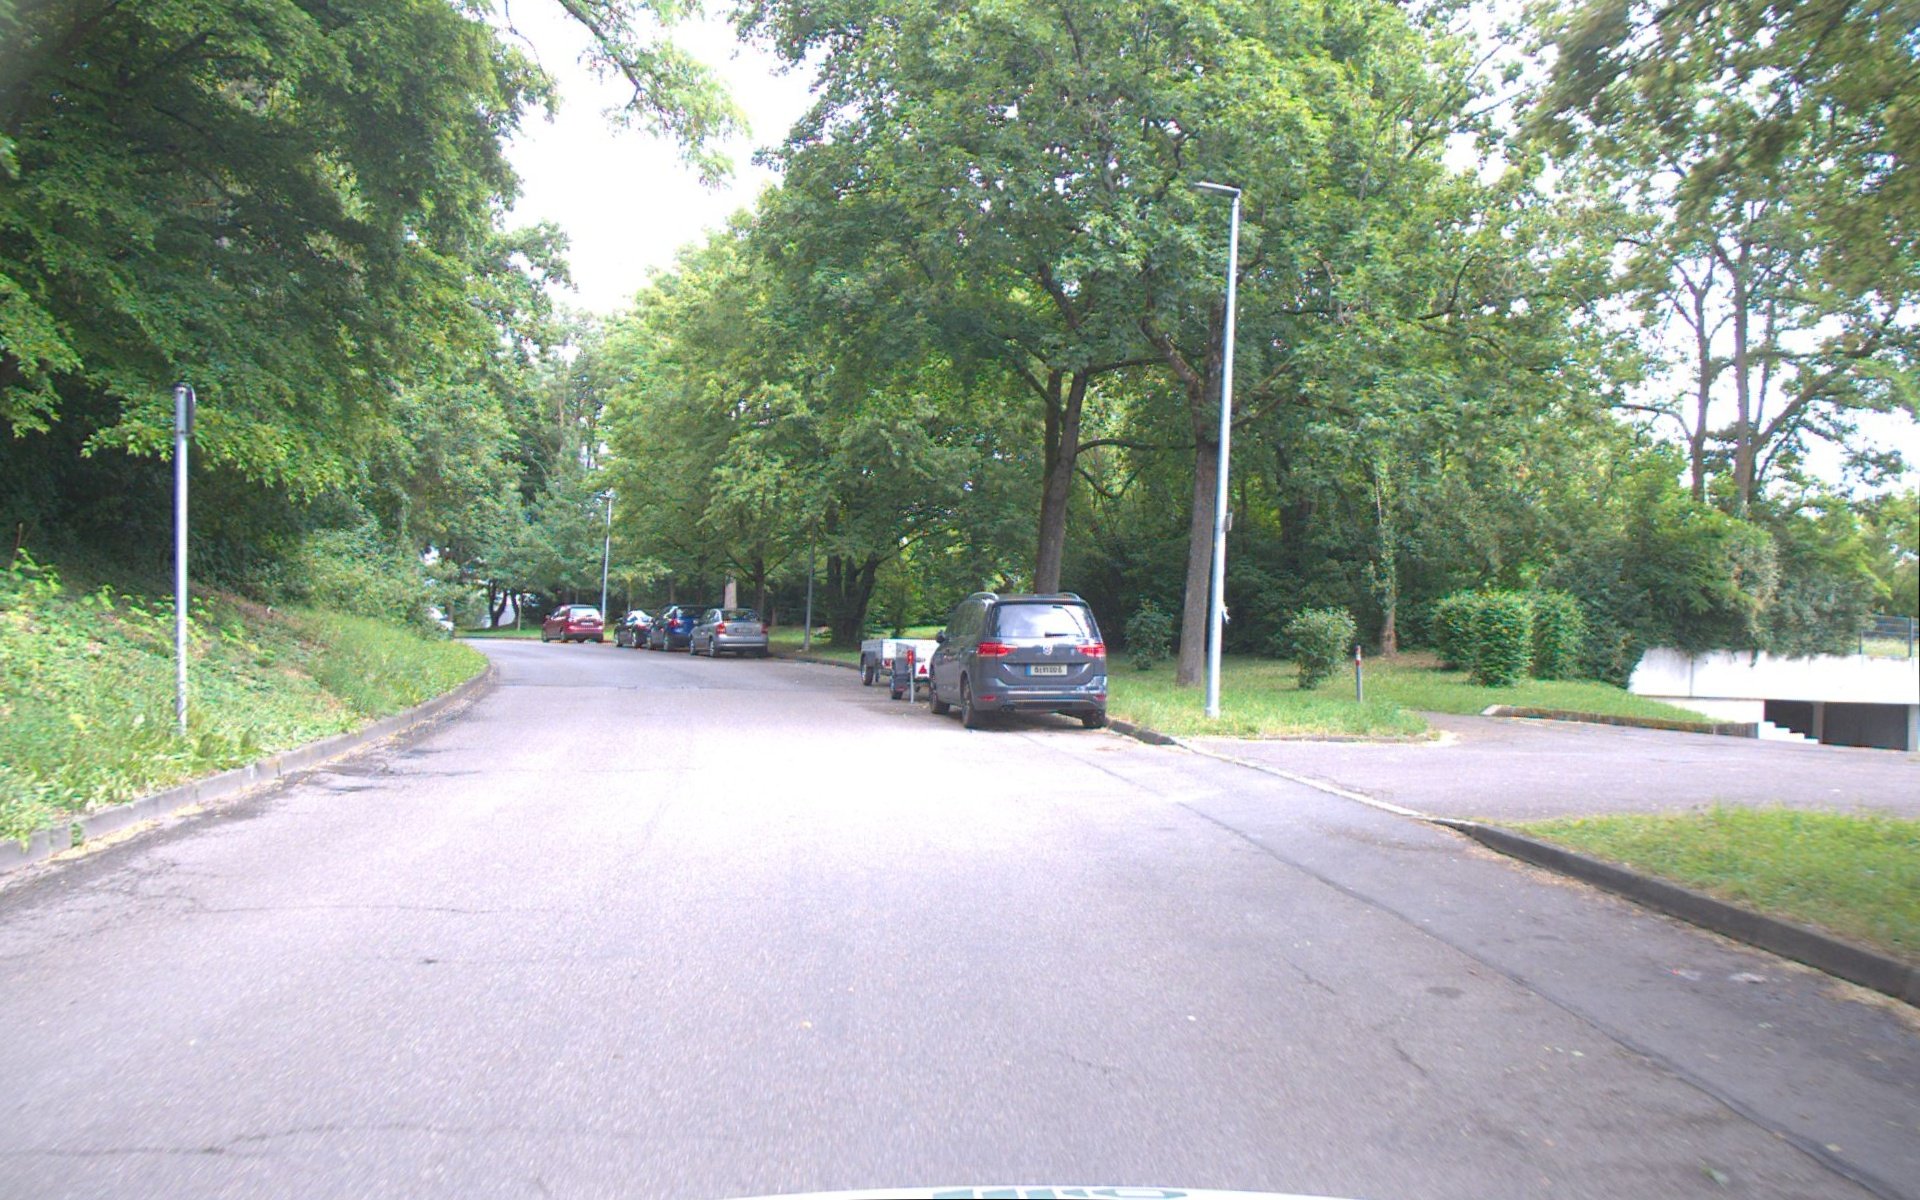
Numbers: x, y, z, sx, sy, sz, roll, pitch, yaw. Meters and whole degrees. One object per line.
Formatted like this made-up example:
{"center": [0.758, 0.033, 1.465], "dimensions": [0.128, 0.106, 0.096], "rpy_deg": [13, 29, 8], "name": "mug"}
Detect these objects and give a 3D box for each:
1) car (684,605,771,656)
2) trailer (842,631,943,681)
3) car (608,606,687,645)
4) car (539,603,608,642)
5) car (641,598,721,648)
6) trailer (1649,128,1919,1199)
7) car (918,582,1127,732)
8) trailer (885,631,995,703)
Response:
{"center": [-6.992, 0.897, 49.460], "dimensions": [1.693, 1.457, 3.922], "rpy_deg": [0, -1, -22], "name": "car"}
{"center": [-1.368, 1.083, 32.437], "dimensions": [1.340, 0.862, 3.267], "rpy_deg": [3, -2, -13], "name": "trailer"}
{"center": [-11.371, 0.918, 59.936], "dimensions": [1.729, 1.360, 4.378], "rpy_deg": [2, -1, -26], "name": "car"}
{"center": [-16.269, 0.944, 69.525], "dimensions": [1.720, 1.590, 3.958], "rpy_deg": [1, -1, -30], "name": "car"}
{"center": [-9.414, 0.775, 55.624], "dimensions": [1.691, 1.536, 4.151], "rpy_deg": [3, -2, -23], "name": "car"}
{"center": [2.841, 0.277, 2.660], "dimensions": [1.725, 2.469, 3.885], "rpy_deg": [0, 0, -3], "name": "trailer"}
{"center": [0.685, 0.692, 21.761], "dimensions": [1.743, 1.691, 4.829], "rpy_deg": [2, -1, -10], "name": "car"}
{"center": [-0.400, 1.084, 27.750], "dimensions": [1.332, 0.986, 3.886], "rpy_deg": [3, 0, -8], "name": "trailer"}
